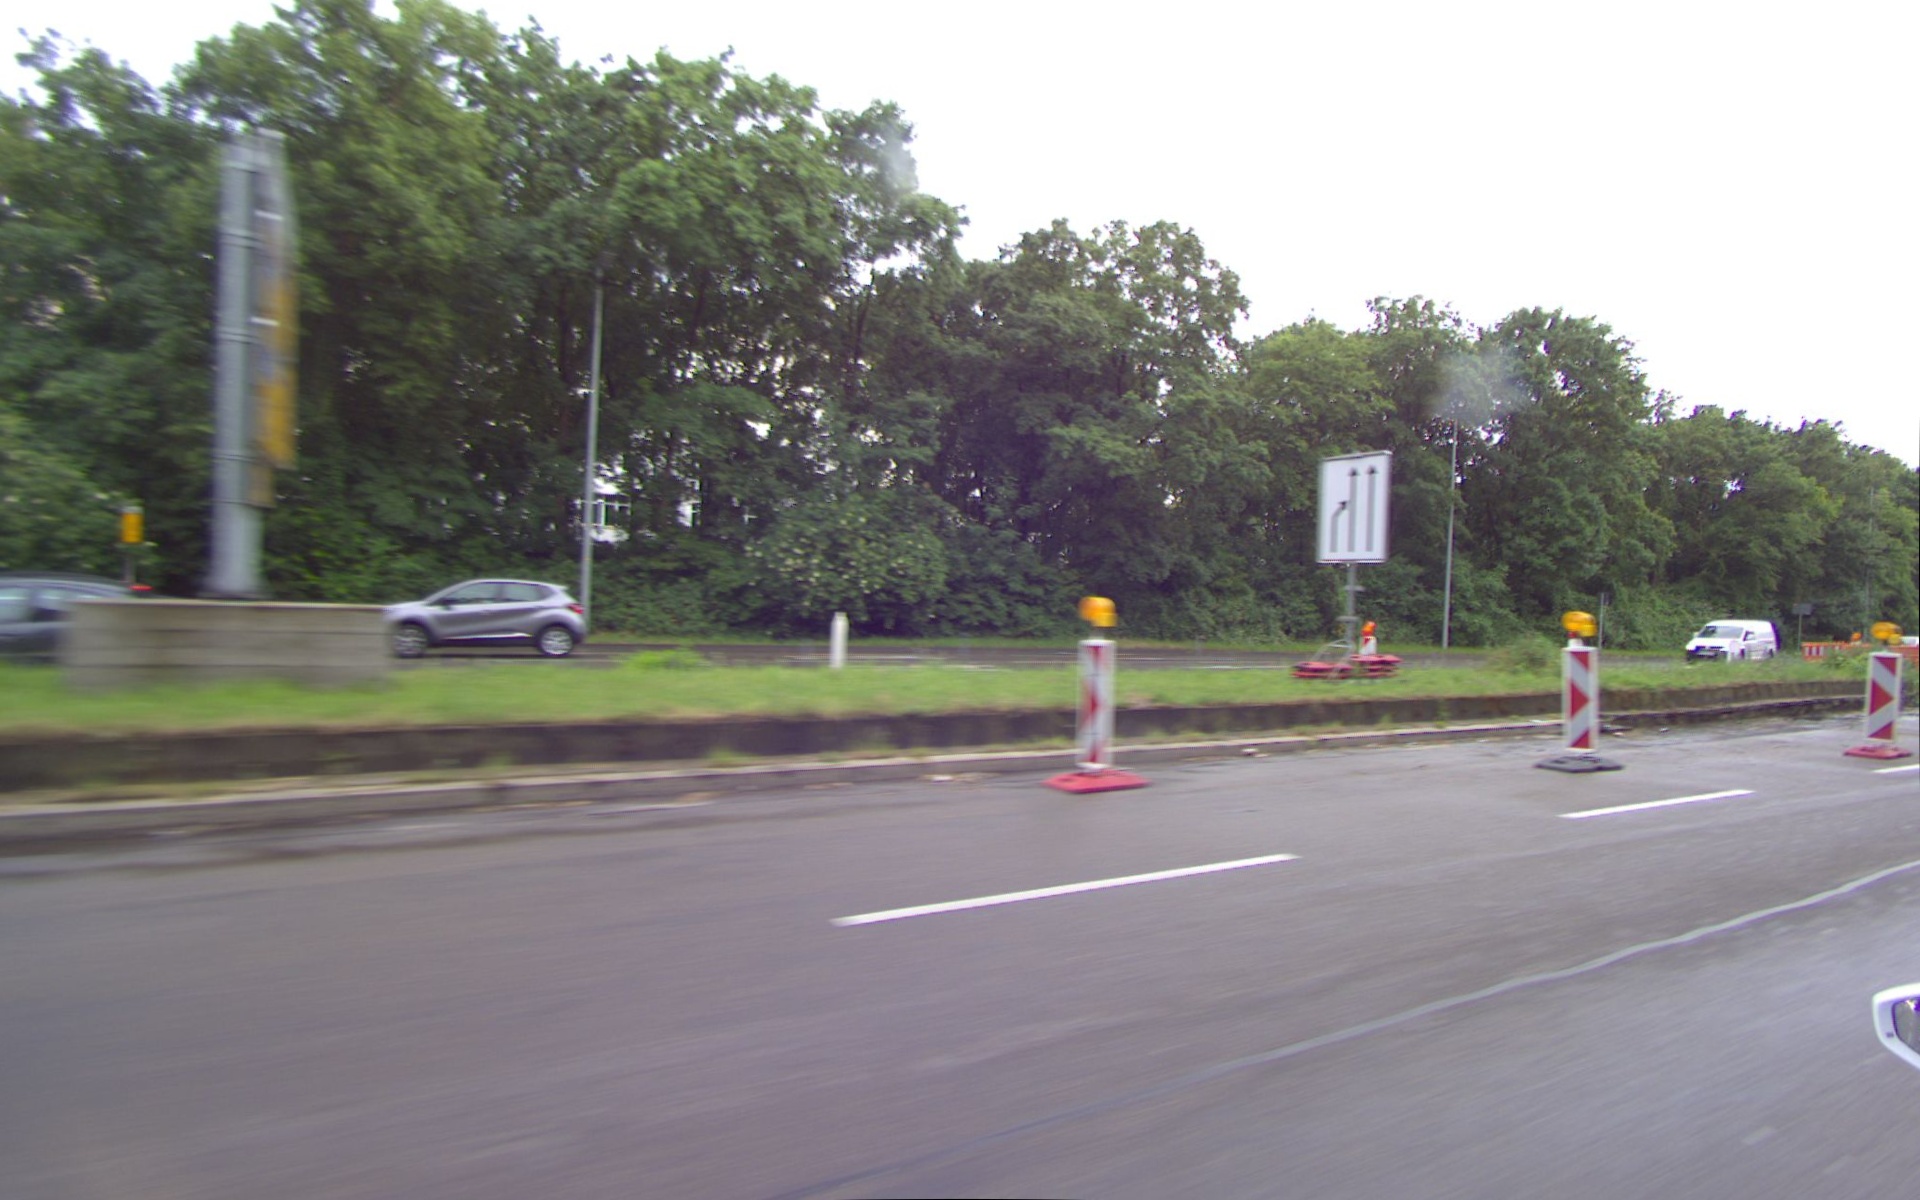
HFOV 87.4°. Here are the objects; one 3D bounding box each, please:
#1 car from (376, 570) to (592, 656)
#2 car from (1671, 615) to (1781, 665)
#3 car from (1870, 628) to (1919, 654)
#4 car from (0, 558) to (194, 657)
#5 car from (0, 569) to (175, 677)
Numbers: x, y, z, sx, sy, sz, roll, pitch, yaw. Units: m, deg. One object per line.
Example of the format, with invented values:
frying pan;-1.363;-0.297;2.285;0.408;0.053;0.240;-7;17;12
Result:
car;-9.470;0.263;20.141;3.741;1.544;1.665;2;1;-28
car;30.739;1.580;40.269;4.780;1.805;1.903;1;1;-32
car;55.316;2.410;58.994;3.852;1.444;1.781;2;0;-32
car;-15.852;0.091;16.767;4.576;1.544;1.786;2;1;-28
car;-11.650;0.248;12.045;3.258;1.216;1.424;2;1;-28
